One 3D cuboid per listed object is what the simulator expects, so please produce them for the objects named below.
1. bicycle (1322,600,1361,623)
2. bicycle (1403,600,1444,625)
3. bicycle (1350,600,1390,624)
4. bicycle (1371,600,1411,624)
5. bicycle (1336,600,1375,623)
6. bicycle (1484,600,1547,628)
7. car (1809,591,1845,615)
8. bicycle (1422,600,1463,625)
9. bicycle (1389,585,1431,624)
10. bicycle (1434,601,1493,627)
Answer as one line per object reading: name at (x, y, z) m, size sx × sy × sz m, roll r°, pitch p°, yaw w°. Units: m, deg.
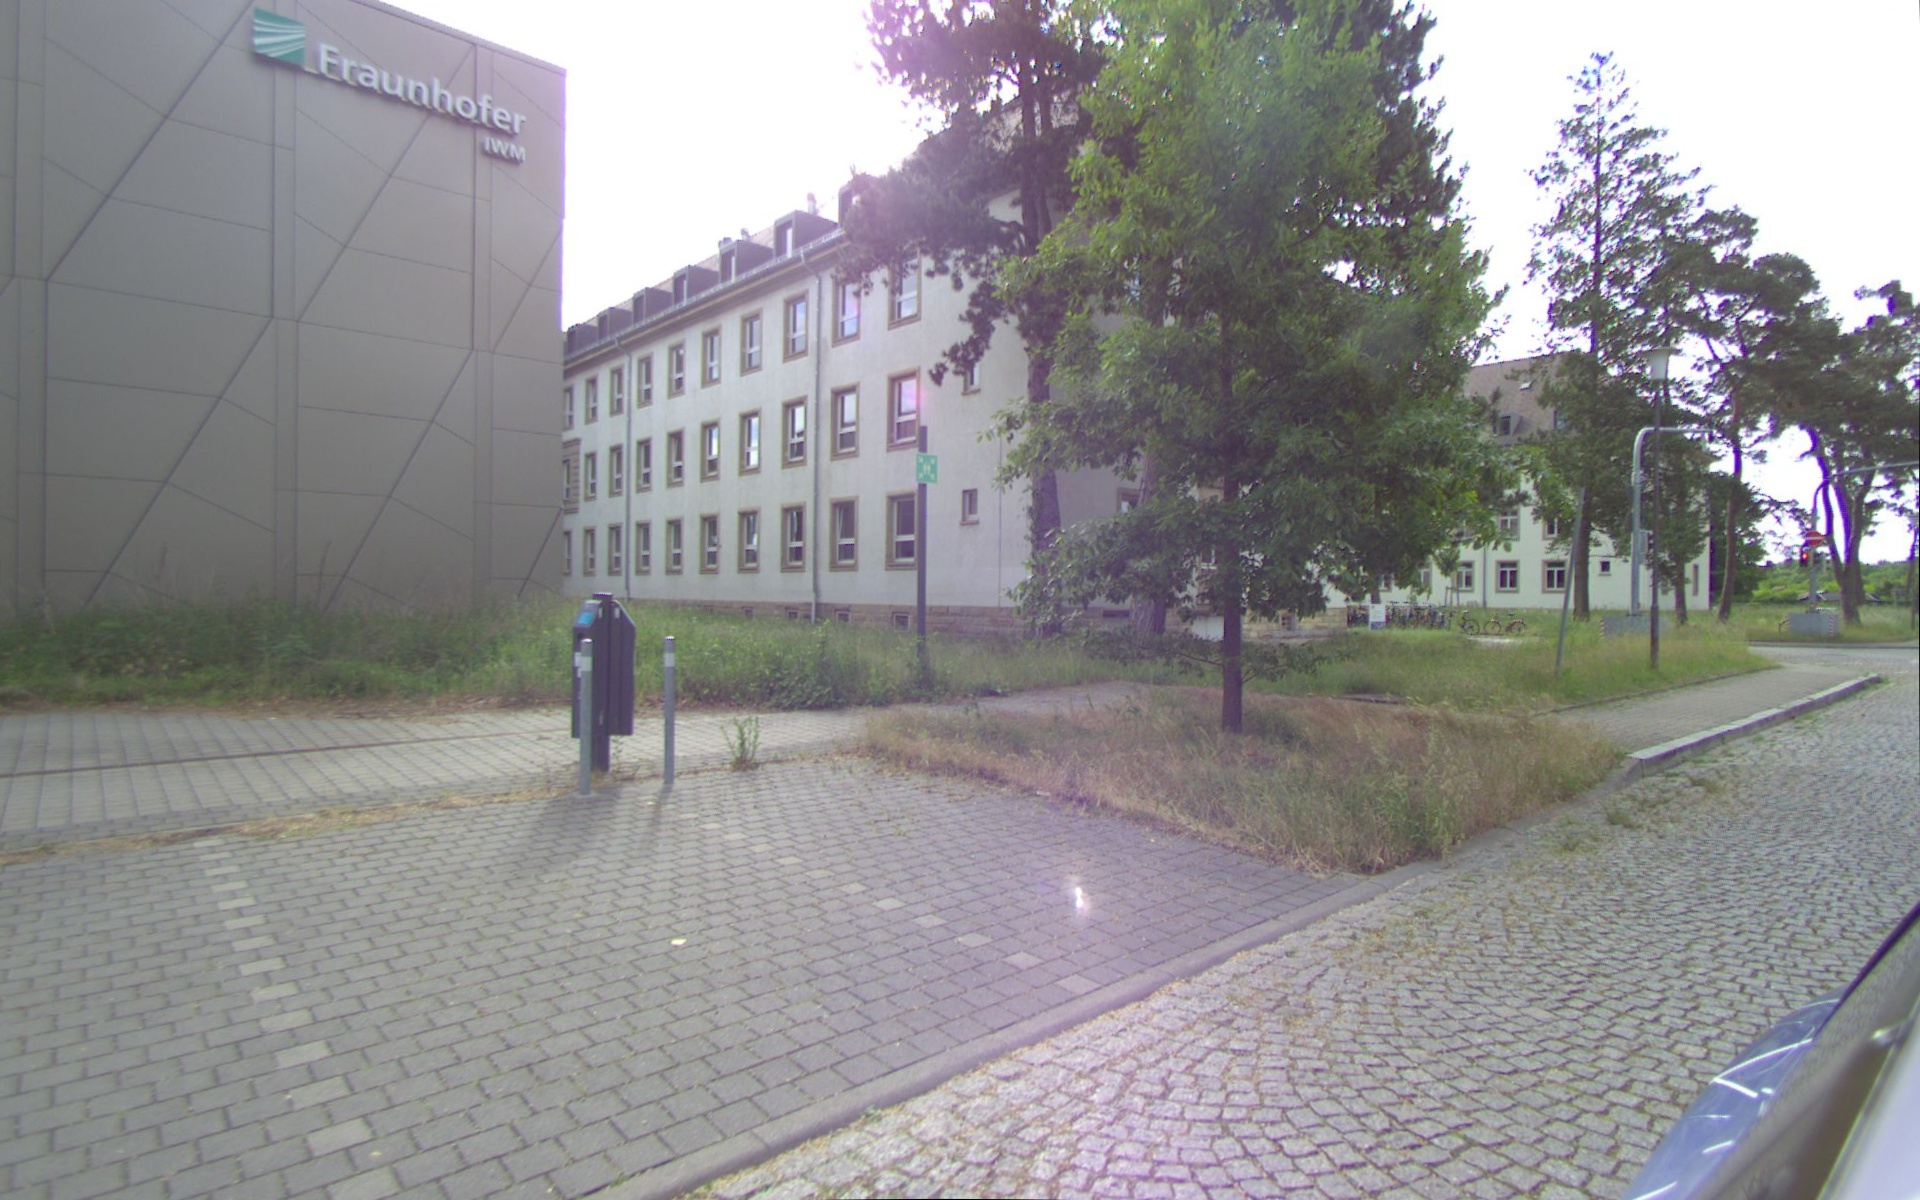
bicycle at (18.384, 0.530, 48.737) m, size 2.127 × 1.070 × 0.799 m, roll 0°, pitch 0°, yaw -39°
bicycle at (20.879, 0.545, 45.554) m, size 2.159 × 1.070 × 0.799 m, roll 0°, pitch 0°, yaw -39°
bicycle at (19.189, 0.540, 47.366) m, size 2.127 × 1.070 × 0.799 m, roll 0°, pitch 0°, yaw -39°
bicycle at (20.000, 0.536, 46.928) m, size 2.159 × 1.070 × 0.799 m, roll 0°, pitch 0°, yaw -39°
bicycle at (18.810, 0.534, 48.107) m, size 2.127 × 1.070 × 0.799 m, roll 0°, pitch 0°, yaw -39°
bicycle at (22.825, 0.561, 41.618) m, size 0.706 × 1.109 × 2.160 m, roll 0°, pitch 0°, yaw -45°
car at (65.648, 0.209, 76.627) m, size 1.992 × 1.810 × 3.939 m, roll 0°, pitch 0°, yaw 42°
bicycle at (21.431, 0.551, 44.908) m, size 2.127 × 1.070 × 0.799 m, roll 0°, pitch 0°, yaw -39°
bicycle at (20.624, 0.196, 46.349) m, size 2.159 × 1.753 × 0.905 m, roll 0°, pitch 0°, yaw -39°
bicycle at (21.499, 0.572, 43.224) m, size 0.706 × 1.070 × 2.160 m, roll 0°, pitch 0°, yaw -45°
